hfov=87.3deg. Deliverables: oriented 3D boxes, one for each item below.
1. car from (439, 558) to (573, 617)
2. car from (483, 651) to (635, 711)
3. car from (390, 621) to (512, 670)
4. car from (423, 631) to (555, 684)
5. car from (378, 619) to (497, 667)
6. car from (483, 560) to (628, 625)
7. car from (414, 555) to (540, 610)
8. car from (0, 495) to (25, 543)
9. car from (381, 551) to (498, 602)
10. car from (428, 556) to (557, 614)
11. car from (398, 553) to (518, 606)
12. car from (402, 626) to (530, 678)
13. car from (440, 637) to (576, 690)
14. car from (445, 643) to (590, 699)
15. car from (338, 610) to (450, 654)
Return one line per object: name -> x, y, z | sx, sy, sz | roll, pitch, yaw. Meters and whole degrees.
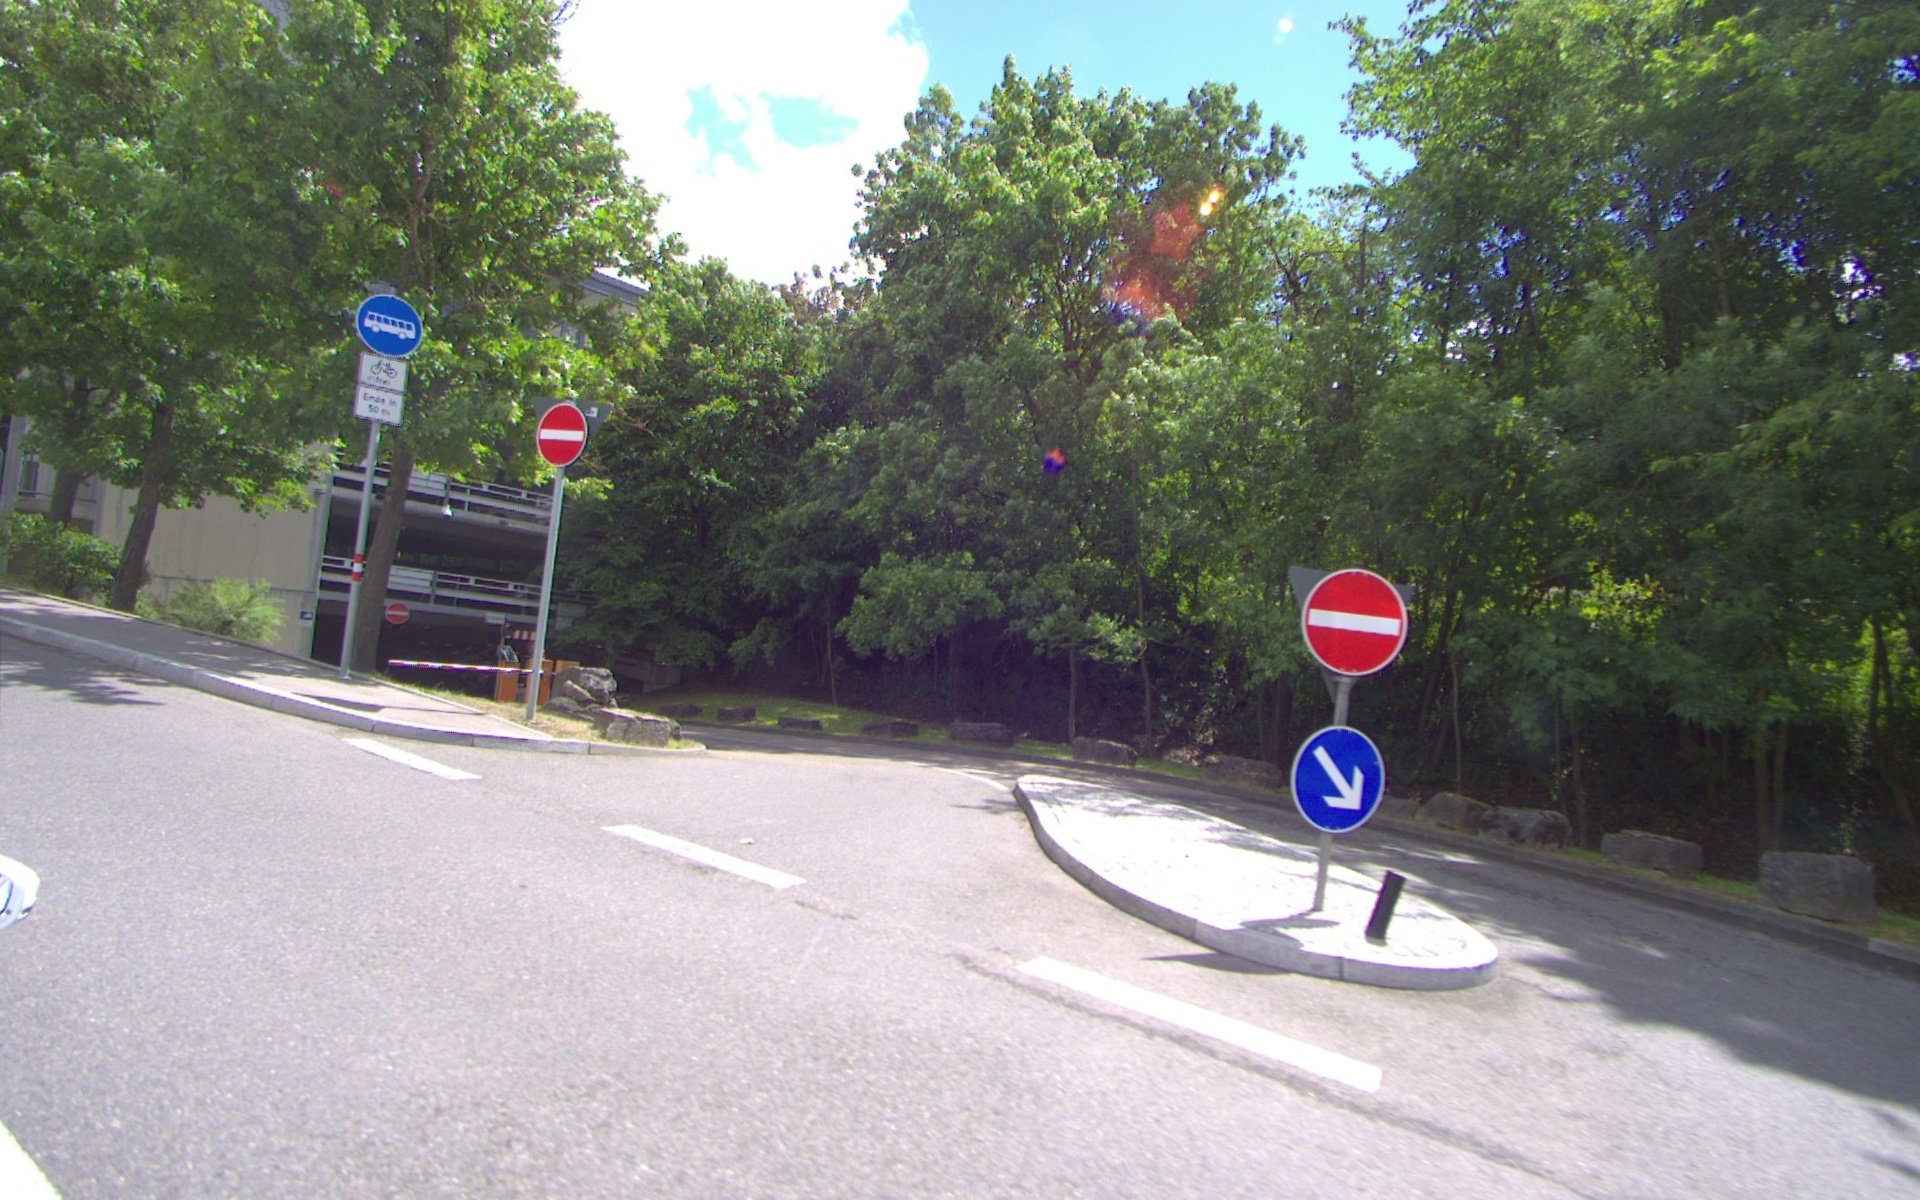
car -> -17.702, -0.475, 39.337 | 4.297, 1.649, 1.978 | 9, -2, -39
car -> -13.536, 2.758, 34.047 | 4.297, 1.434, 1.978 | 9, -2, -39
car -> -21.895, 1.987, 43.345 | 4.297, 1.506, 1.978 | 9, -2, -39
car -> -18.716, 2.306, 40.064 | 4.297, 1.506, 1.978 | 9, -2, -39
car -> -23.330, 1.938, 44.972 | 4.297, 1.506, 1.978 | 9, -2, -39
car -> -14.460, -0.255, 36.053 | 4.297, 1.649, 1.978 | 9, -2, -39
car -> -20.354, -0.735, 42.472 | 4.297, 1.649, 1.978 | 9, -2, -39
car -> -39.600, -3.418, 40.832 | 3.652, 1.821, 1.875 | 6, 0, 39
car -> -23.690, -1.065, 45.863 | 4.297, 1.649, 1.978 | 9, -2, -39
car -> -18.974, -0.598, 40.936 | 4.297, 1.649, 1.978 | 9, -2, -39
car -> -22.094, -0.906, 44.383 | 4.297, 1.649, 1.978 | 9, -2, -39
car -> -20.344, 2.155, 41.477 | 4.297, 1.506, 1.978 | 9, -2, -39
car -> -17.282, 2.458, 38.566 | 4.297, 1.434, 1.978 | 9, -2, -39
car -> -15.751, 2.557, 35.914 | 4.297, 1.434, 1.978 | 9, -2, -39
car -> -27.218, 1.557, 48.430 | 4.297, 1.506, 1.978 | 9, -2, -39
